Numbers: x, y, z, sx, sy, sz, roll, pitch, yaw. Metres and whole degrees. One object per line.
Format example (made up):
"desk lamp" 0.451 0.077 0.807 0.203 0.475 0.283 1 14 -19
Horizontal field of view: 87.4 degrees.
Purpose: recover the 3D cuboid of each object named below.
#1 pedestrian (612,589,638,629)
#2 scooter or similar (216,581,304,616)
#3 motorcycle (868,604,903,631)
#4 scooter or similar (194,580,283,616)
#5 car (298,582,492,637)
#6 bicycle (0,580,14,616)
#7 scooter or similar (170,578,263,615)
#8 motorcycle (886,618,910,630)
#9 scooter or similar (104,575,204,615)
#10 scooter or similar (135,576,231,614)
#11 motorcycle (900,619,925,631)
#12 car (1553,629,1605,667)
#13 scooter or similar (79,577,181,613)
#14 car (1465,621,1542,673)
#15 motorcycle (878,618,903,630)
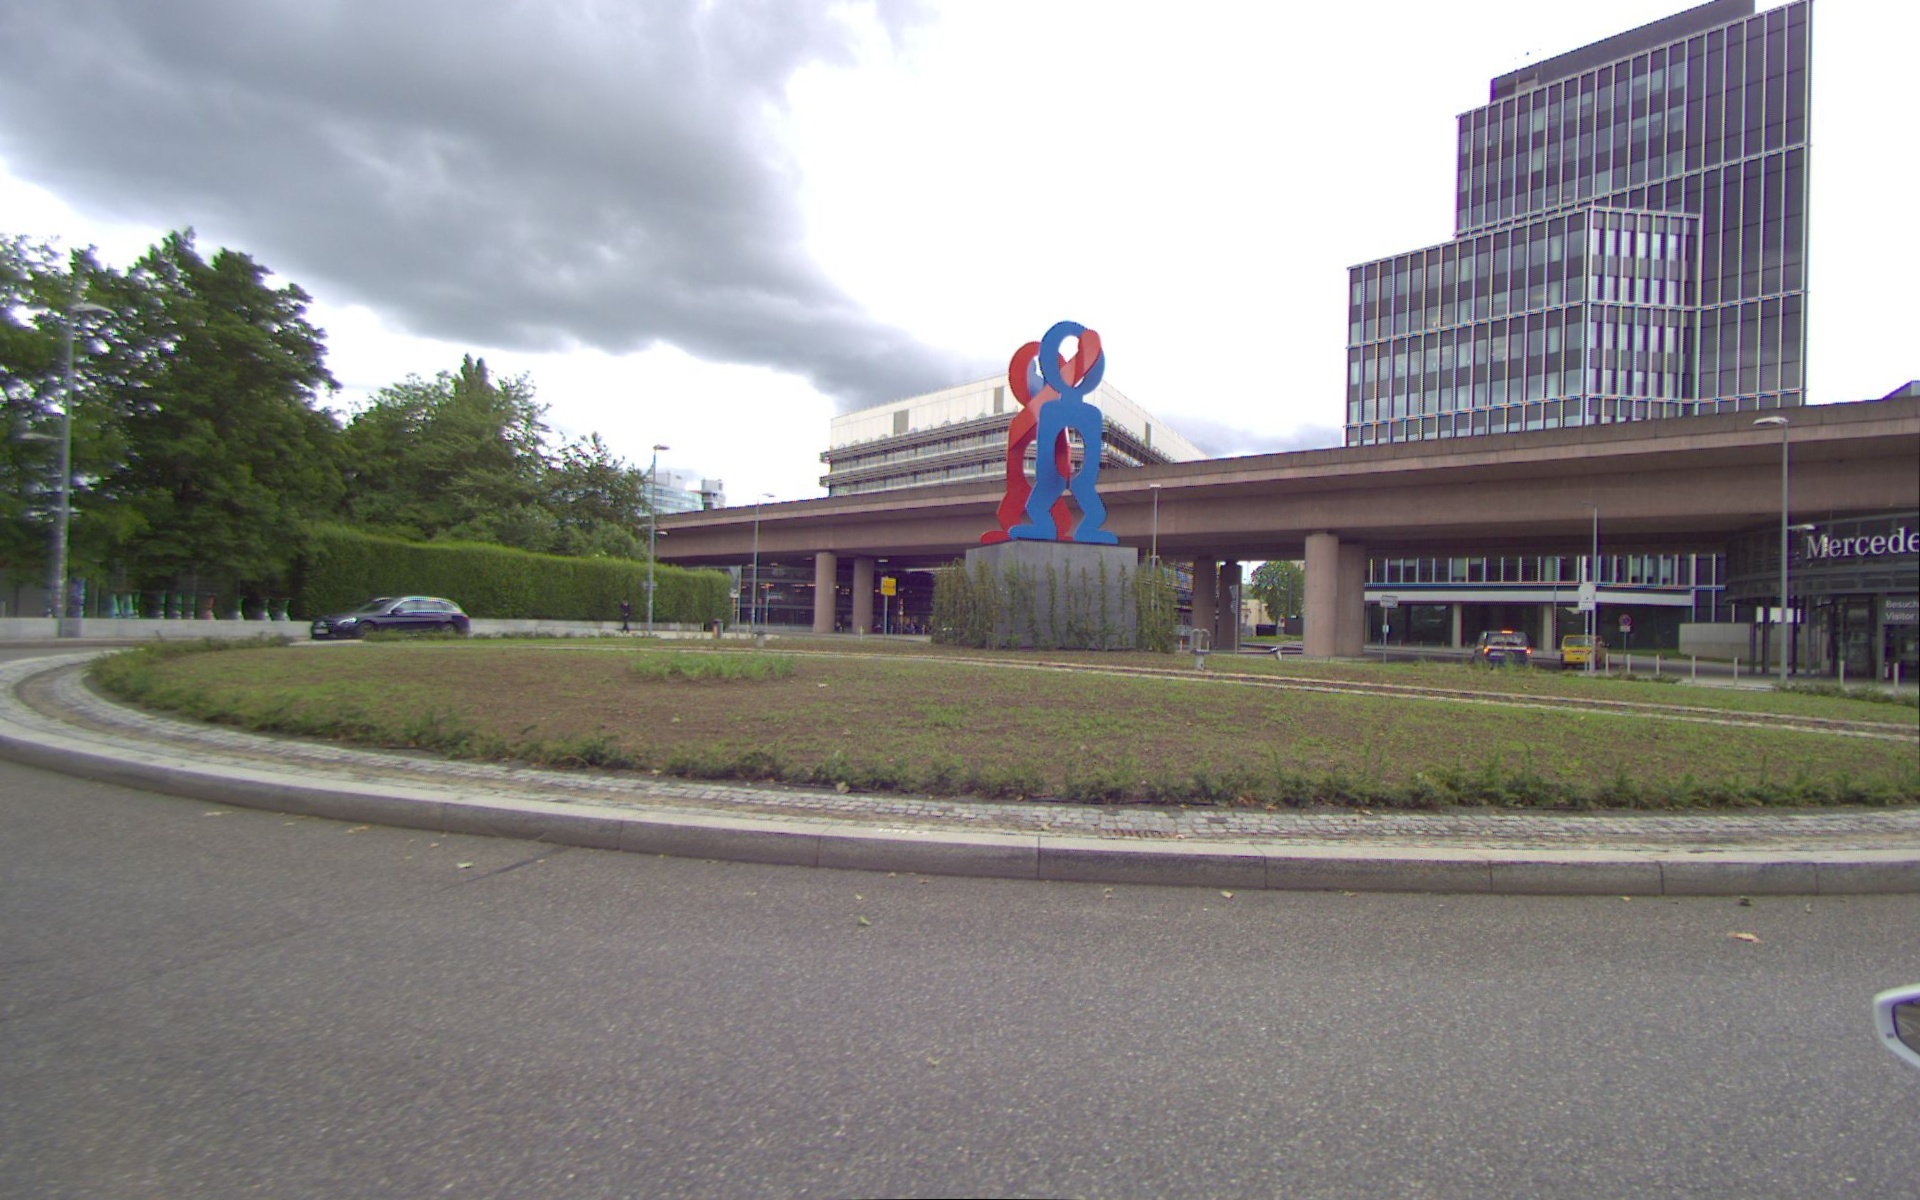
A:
"pedestrian" -17.996 0.489 53.949 1.025 2.040 0.599 3 -1 11
"scooter or similar" -28.417 -0.059 40.792 3.127 1.266 0.774 3 -1 7
"motorcycle" -3.698 0.860 49.899 0.659 1.267 1.881 2 -1 32
"scooter or similar" -28.632 -0.080 39.870 3.127 1.266 0.774 3 -1 7
"car" -17.246 0.343 30.983 1.963 1.480 4.930 2 -1 26
"bicycle" -31.269 -0.148 31.269 3.127 1.111 0.774 3 -1 7
"scooter or similar" -28.692 -0.127 38.767 3.127 1.266 0.774 3 -1 7
"motorcycle" -6.539 2.531 106.378 2.624 1.127 1.033 2 -1 44
"scooter or similar" -29.022 -0.165 36.183 3.127 1.266 0.774 3 -1 7
"scooter or similar" -28.842 -0.184 37.295 3.127 1.266 0.774 3 -1 7
"motorcycle" -5.075 2.628 107.403 2.624 1.127 1.033 2 -1 44
"car" 35.886 2.782 58.192 1.970 2.040 3.983 2 -1 39
"scooter or similar" -29.121 -0.170 35.241 3.127 1.111 0.774 3 -1 7
"car" 24.075 2.059 44.663 2.238 2.040 4.784 2 -1 20
"motorcycle" -7.317 2.469 105.348 2.624 1.127 1.033 2 -1 44
